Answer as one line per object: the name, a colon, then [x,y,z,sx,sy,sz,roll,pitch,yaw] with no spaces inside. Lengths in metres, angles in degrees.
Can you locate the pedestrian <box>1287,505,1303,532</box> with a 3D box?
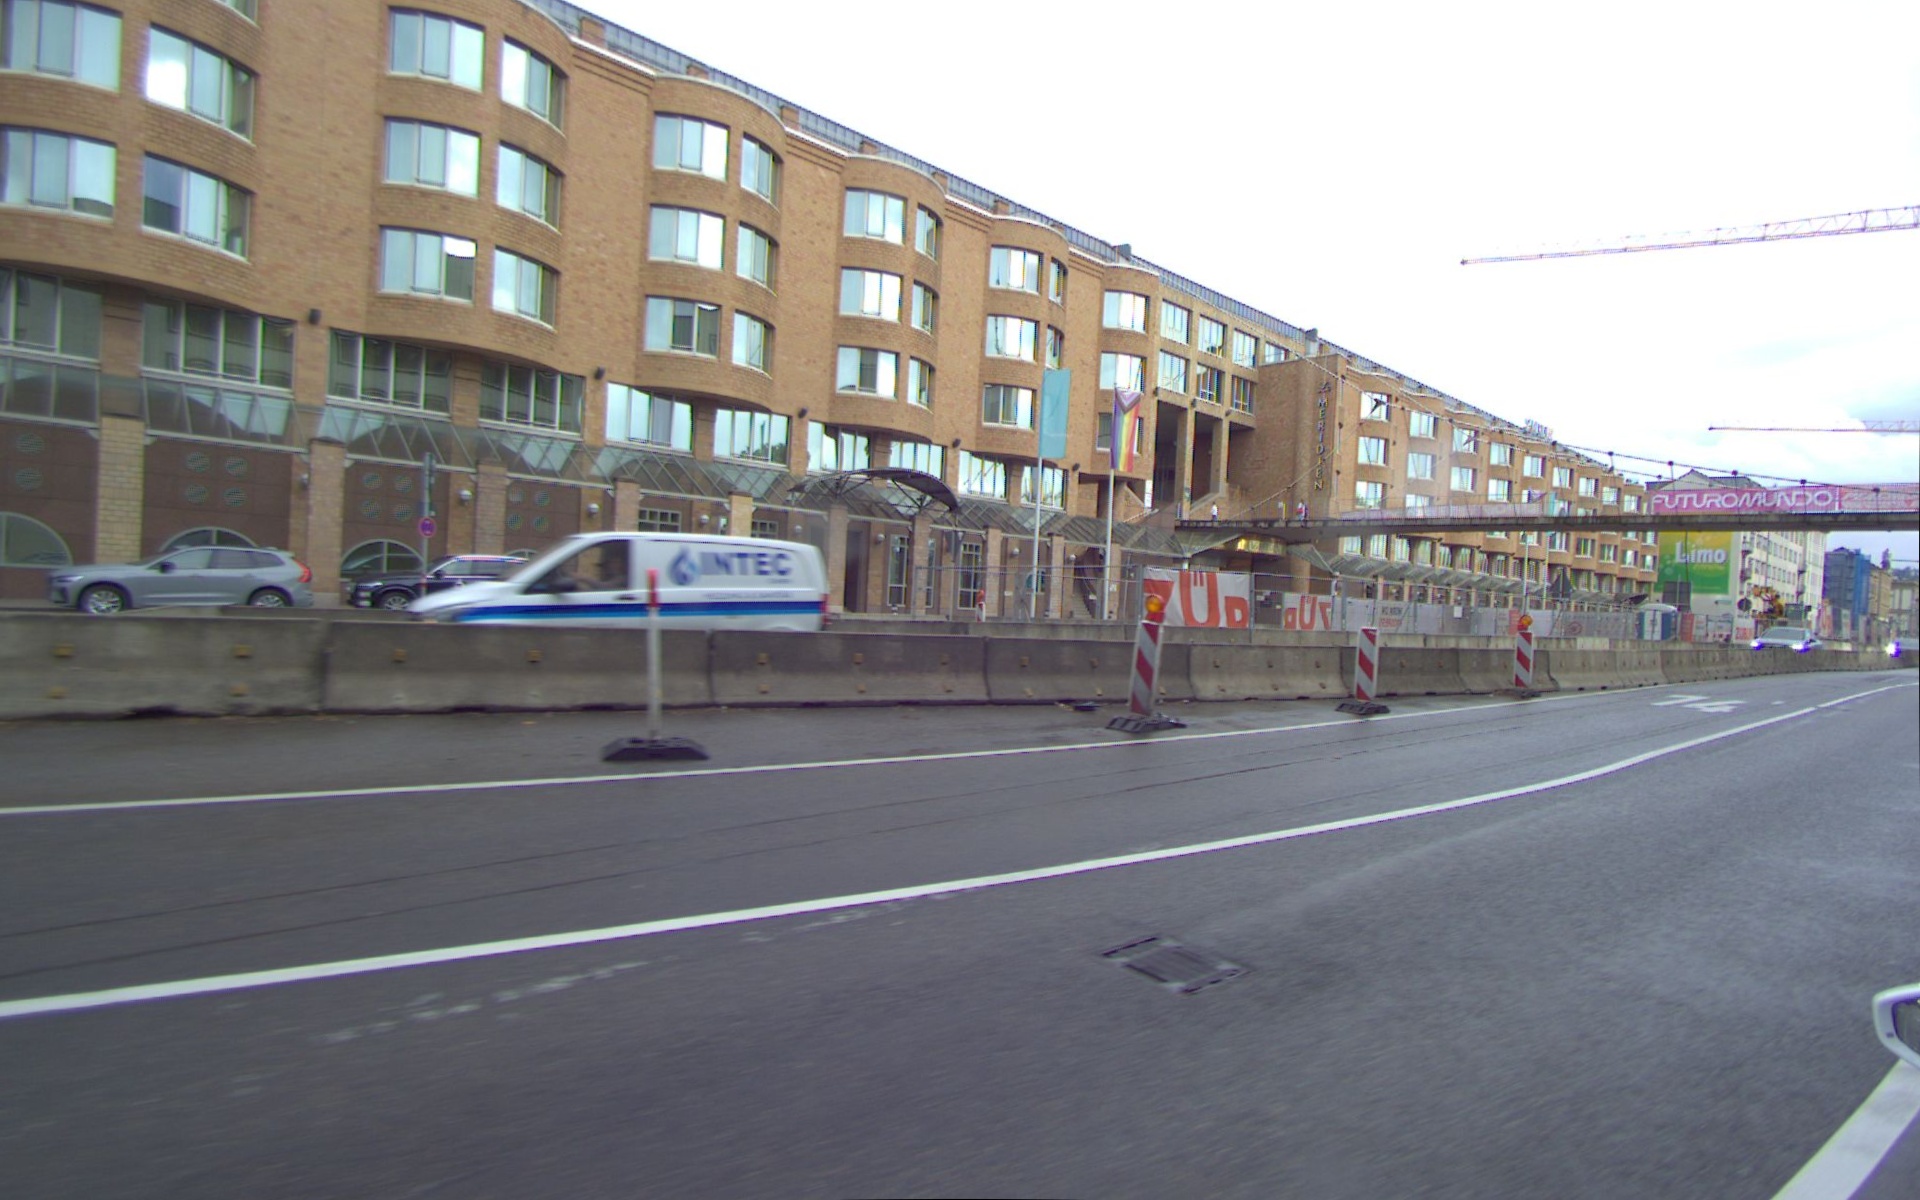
pedestrian: [18.739,-4.555,56.192,0.613,1.471,0.616,2,0,-38]

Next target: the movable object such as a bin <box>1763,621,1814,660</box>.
movable object such as a bin: [51.269,2.523,62.140,4.265,2.307,2.006,2,-3,-45]

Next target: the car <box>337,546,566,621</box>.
car: [-13.191,-0.389,26.220,5.008,1.713,1.977,2,1,-40]

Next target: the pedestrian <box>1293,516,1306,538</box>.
pedestrian: [19.225,-4.136,56.837,0.480,1.210,0.471,2,0,-38]

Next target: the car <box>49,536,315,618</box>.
car: [-17.298,-0.473,22.487,4.510,1.615,1.974,2,1,-44]

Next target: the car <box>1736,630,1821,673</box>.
car: [34.793,2.147,42.671,4.664,1.645,1.976,1,1,-40]

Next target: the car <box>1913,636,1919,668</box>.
car: [46.969,2.536,47.752,4.618,1.462,1.847,2,1,-40]

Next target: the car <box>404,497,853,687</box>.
car: [-3.940,-0.029,12.234,4.817,1.910,1.982,2,1,-33]

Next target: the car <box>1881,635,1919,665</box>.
car: [60.572,3.187,64.331,3.870,1.645,1.791,0,2,-39]
